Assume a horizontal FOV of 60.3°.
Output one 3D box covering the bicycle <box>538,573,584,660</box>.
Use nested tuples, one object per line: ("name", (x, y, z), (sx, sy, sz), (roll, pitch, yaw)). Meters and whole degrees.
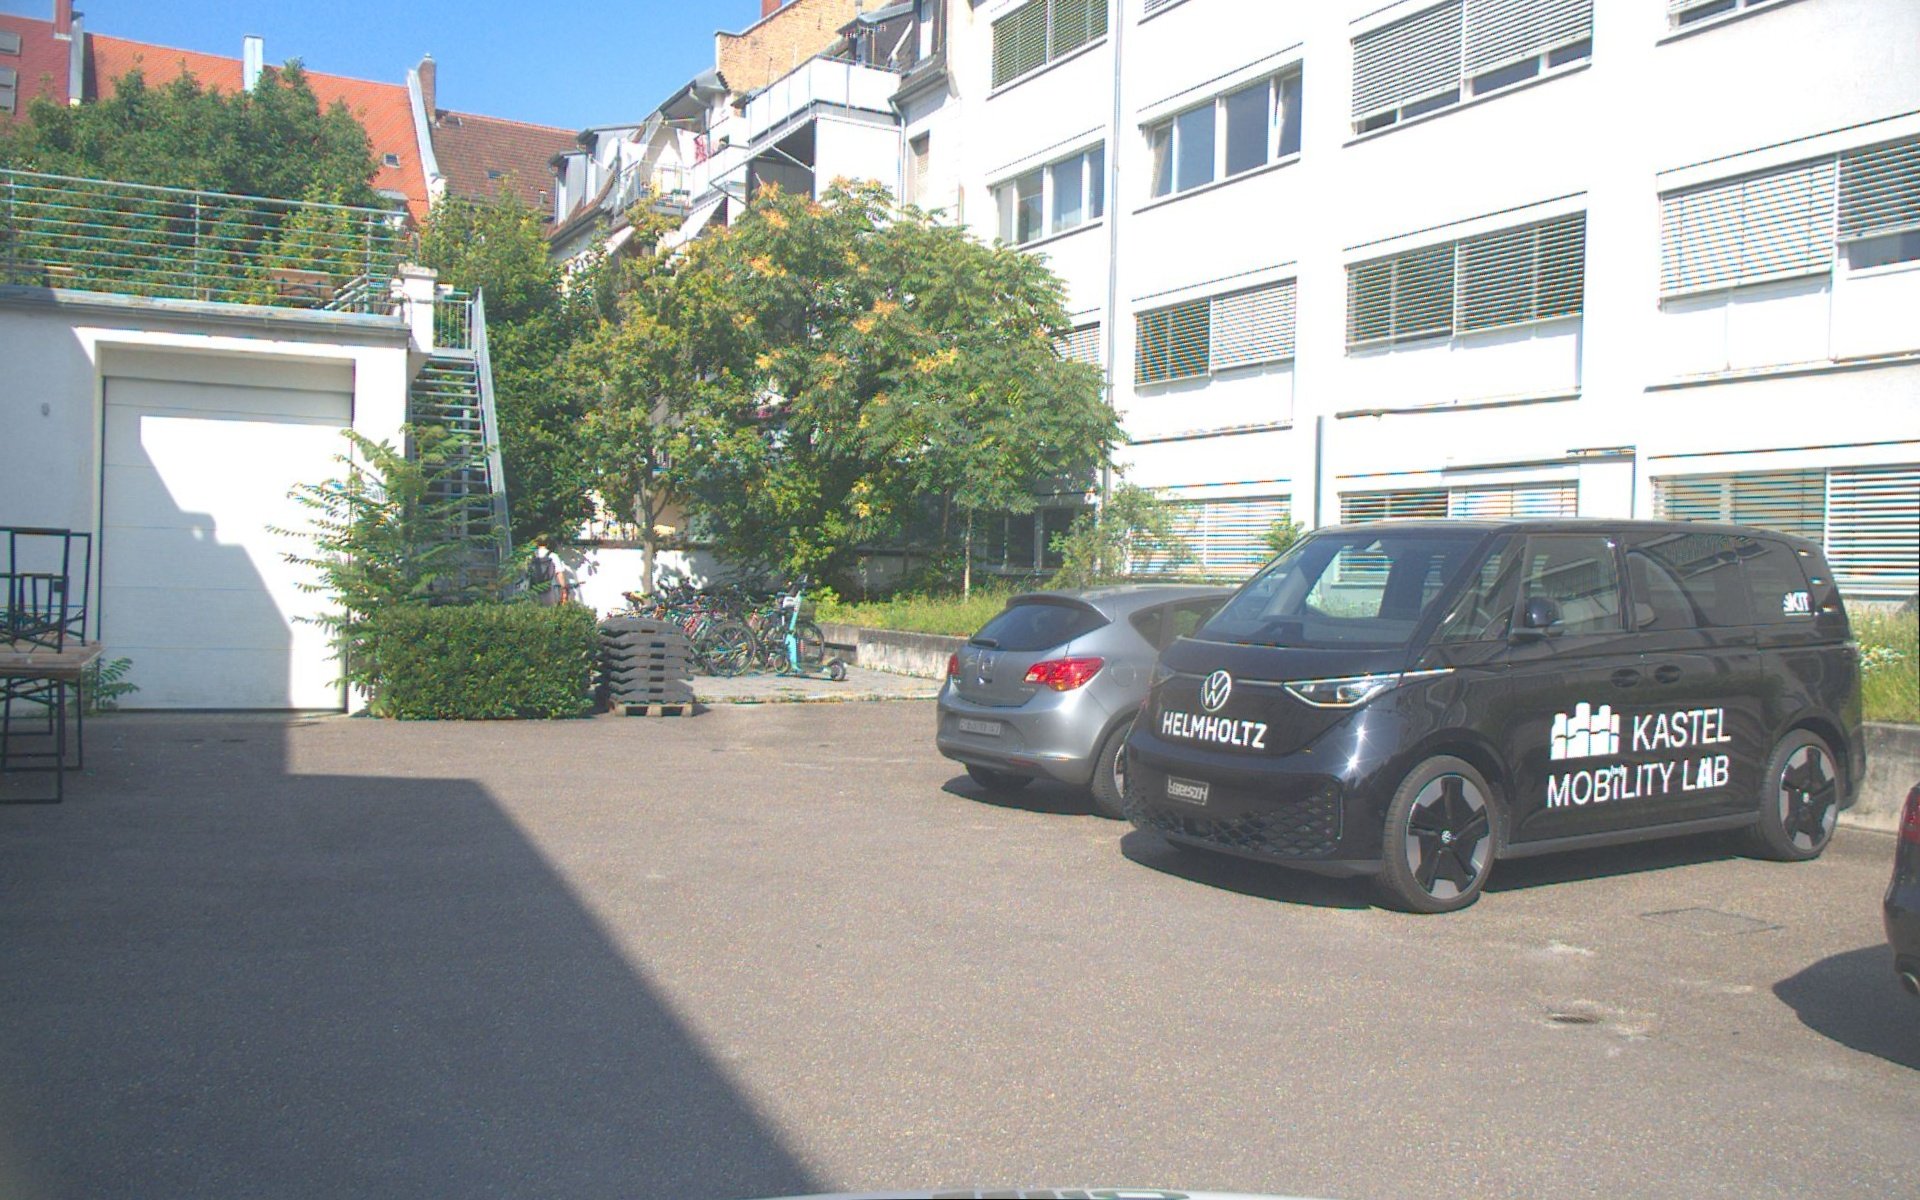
("bicycle", (-5.797, 0.215, 23.990), (0.481, 1.163, 1.983), (0, 2, -19))

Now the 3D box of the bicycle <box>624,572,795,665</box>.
("bicycle", (-3.633, 0.278, 24.053), (2.378, 1.268, 0.523), (2, 0, -23))

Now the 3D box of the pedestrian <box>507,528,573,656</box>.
("pedestrian", (-6.103, -0.120, 24.019), (0.845, 1.802, 0.608), (2, 0, -18))

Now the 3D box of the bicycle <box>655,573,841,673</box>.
("bicycle", (-2.818, 0.315, 22.103), (2.378, 1.268, 0.523), (2, 0, -23))

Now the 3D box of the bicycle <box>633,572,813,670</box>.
("bicycle", (-3.253, 0.295, 22.828), (2.378, 1.268, 0.523), (2, 0, -23))

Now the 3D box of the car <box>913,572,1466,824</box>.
("car", (1.715, 0.585, 11.802), (3.865, 1.491, 1.642), (0, 2, -36))

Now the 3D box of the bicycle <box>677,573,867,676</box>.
("bicycle", (-2.435, 0.328, 21.530), (2.378, 1.268, 0.523), (2, 0, -23))

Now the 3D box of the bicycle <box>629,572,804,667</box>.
("bicycle", (-3.438, 0.279, 23.449), (2.378, 1.268, 0.523), (2, 0, -23))

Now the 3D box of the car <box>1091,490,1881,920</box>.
("car", (3.019, 0.443, 9.237), (4.293, 1.891, 1.894), (0, 1, -33))

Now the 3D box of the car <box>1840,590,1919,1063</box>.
("car", (5.112, 0.740, 5.490), (4.178, 1.462, 1.678), (1, 1, -25))

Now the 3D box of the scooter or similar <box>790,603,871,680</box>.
("scooter or similar", (-1.677, 0.527, 21.388), (0.978, 0.940, 0.359), (2, 1, 30))
